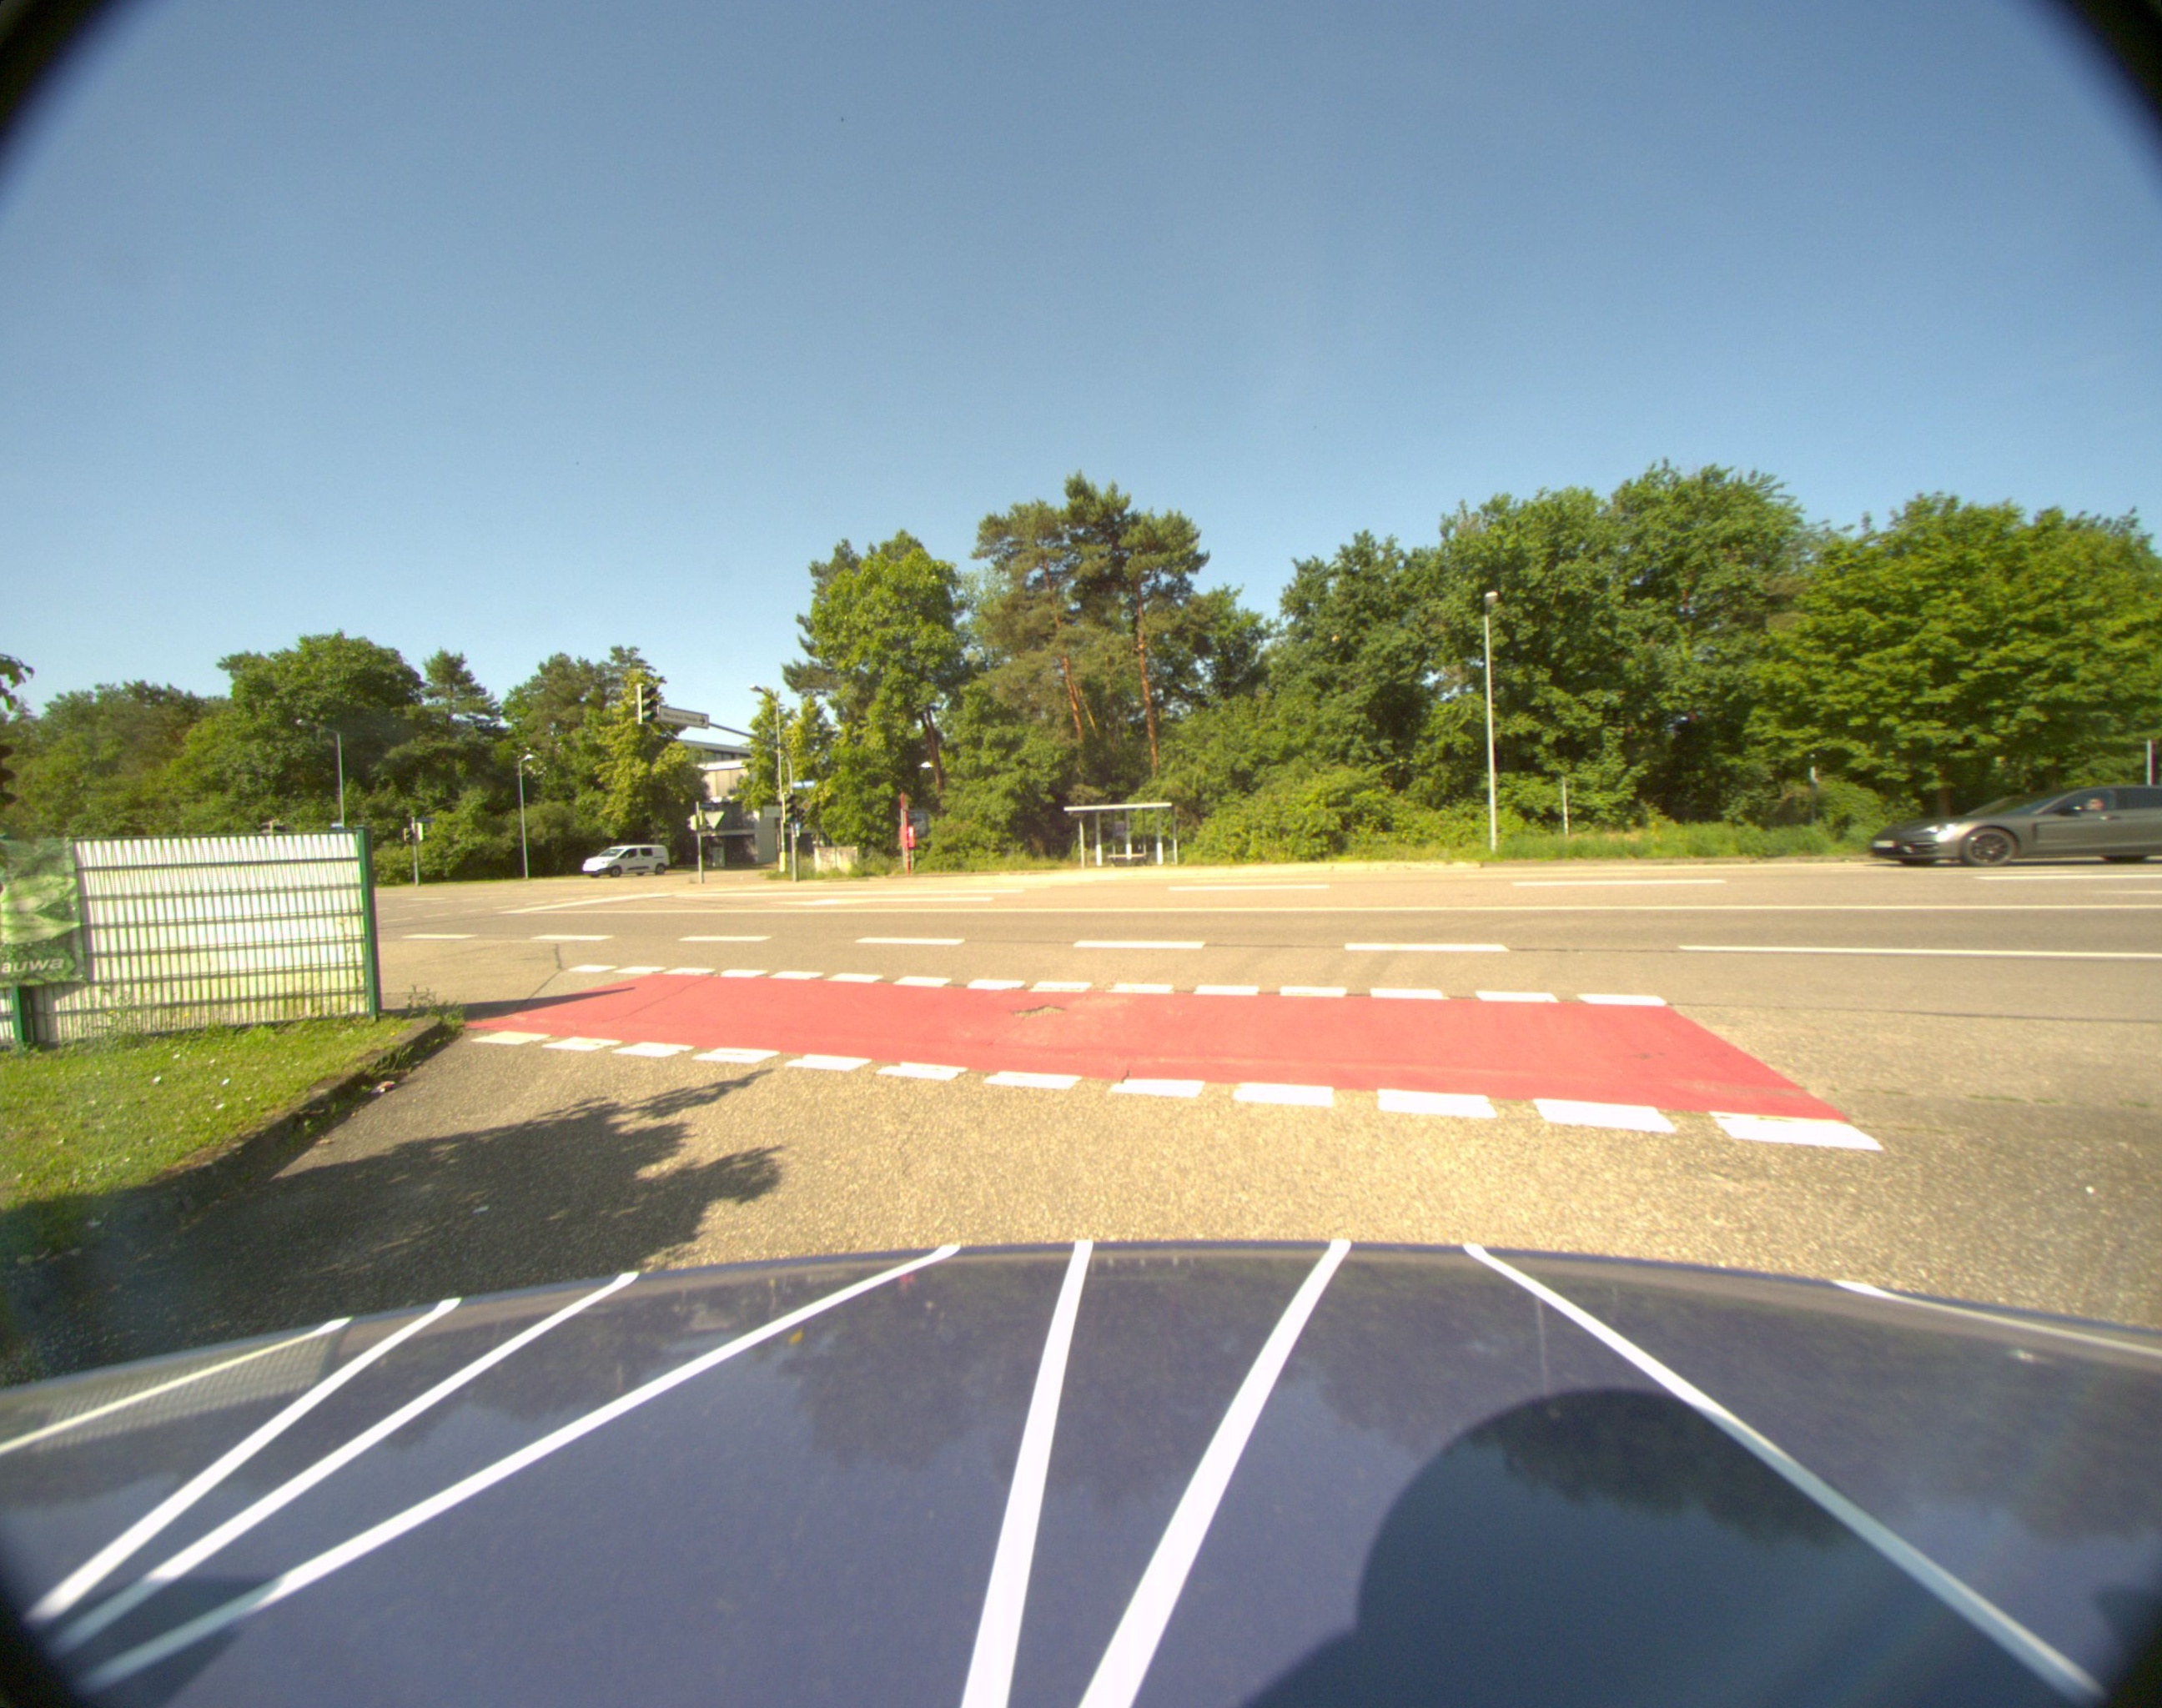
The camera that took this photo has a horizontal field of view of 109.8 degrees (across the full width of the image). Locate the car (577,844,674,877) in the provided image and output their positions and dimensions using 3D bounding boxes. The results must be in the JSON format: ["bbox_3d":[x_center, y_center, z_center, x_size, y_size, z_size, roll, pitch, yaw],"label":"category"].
[{"bbox_3d":[-26.304,0.350,44.064,1.848,1.768,4.667,-1,1,19],"label":"car"}]

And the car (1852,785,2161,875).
[{"bbox_3d":[17.896,-0.426,13.972,4.901,1.487,1.855,-1,1,19],"label":"car"}]
